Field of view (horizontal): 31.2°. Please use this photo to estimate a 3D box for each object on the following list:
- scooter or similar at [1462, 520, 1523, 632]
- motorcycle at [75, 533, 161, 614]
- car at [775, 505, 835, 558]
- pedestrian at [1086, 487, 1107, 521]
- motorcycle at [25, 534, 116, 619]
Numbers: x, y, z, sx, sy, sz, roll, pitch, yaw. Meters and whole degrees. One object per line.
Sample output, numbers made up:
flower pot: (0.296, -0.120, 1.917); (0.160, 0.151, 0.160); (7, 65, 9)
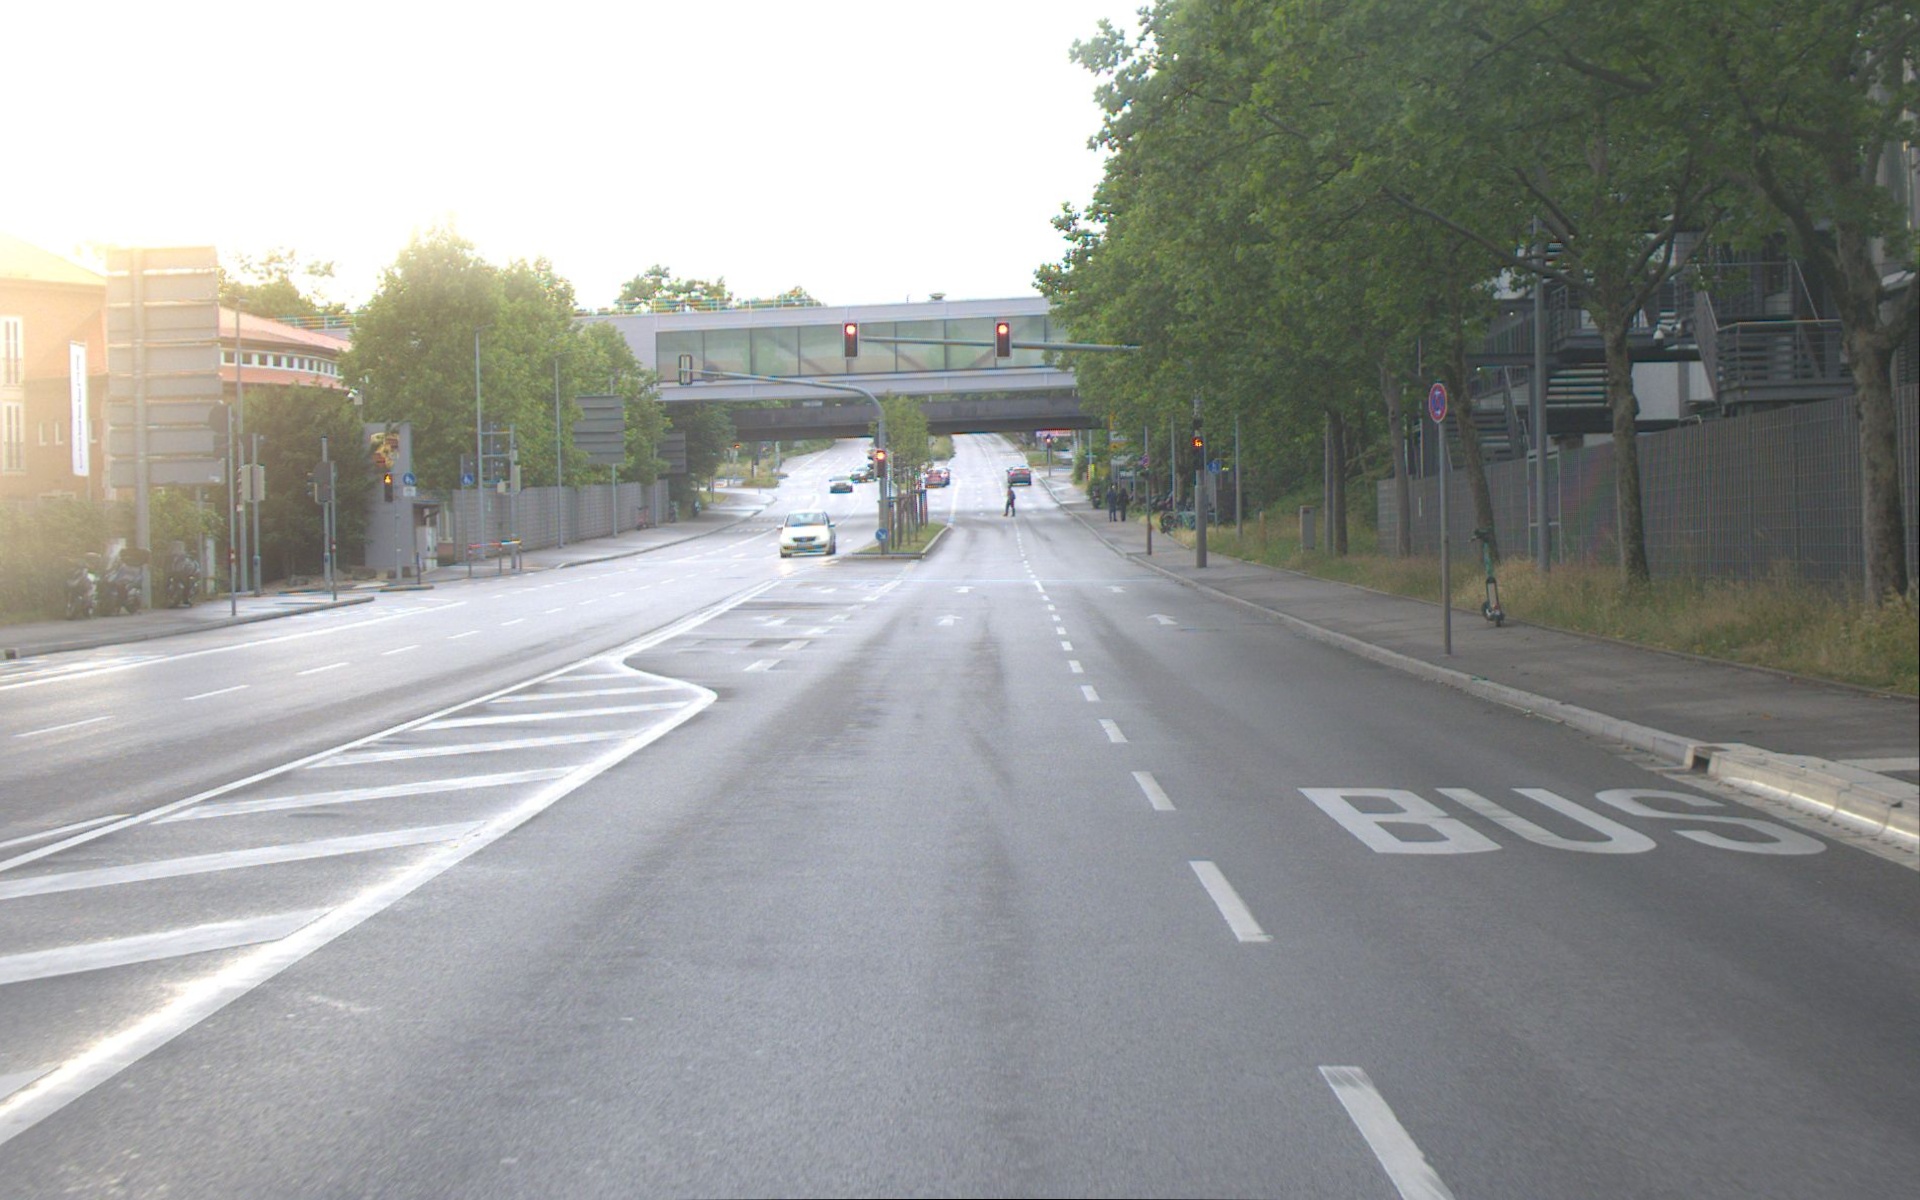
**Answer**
scooter or similar: (6.697, -0.318, 43.289); (0.609, 1.361, 1.921); (-1, 1, 5)
motorcycle: (-16.808, -0.556, 68.681); (0.959, 1.550, 3.300); (-1, 1, -2)
car: (-5.388, -2.375, 119.141); (1.993, 1.766, 4.001); (-1, 1, -3)
pedestrian: (8.113, -5.703, 204.707); (1.057, 2.007, 1.150); (-1, 1, 12)
motorcycle: (-16.738, -0.472, 64.786); (0.913, 1.527, 3.300); (-1, 1, -2)
